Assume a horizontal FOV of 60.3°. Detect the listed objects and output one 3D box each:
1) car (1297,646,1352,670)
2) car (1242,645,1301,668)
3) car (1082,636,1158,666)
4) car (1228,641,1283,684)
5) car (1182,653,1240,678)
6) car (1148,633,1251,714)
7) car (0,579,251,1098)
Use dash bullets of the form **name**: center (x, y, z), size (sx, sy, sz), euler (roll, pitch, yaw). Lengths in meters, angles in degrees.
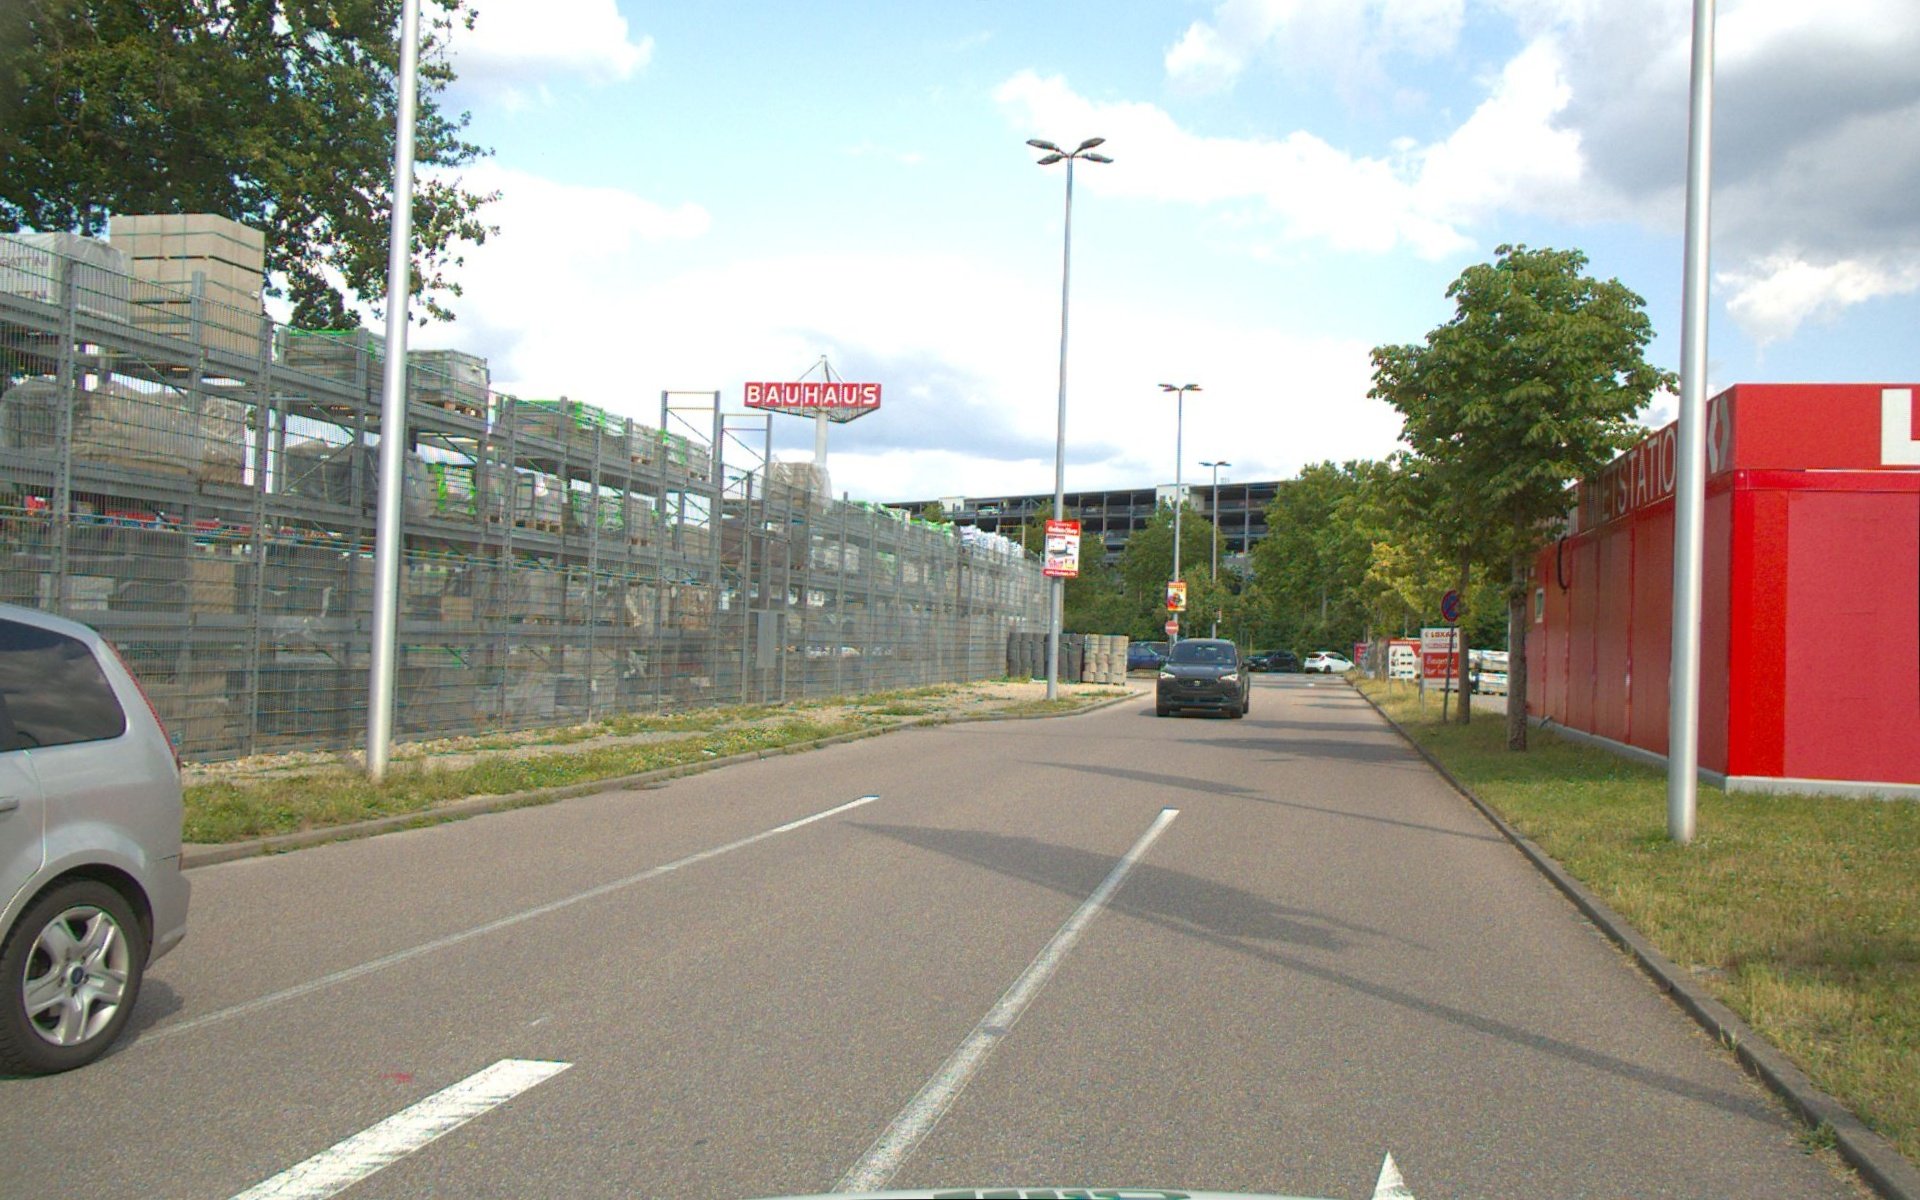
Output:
- **car**: center (23.478, 3.727, 106.376), size (3.522, 1.436, 1.647), euler (3, -2, -39)
- **car**: center (20.648, 3.721, 109.596), size (4.209, 1.435, 1.706), euler (3, -2, -44)
- **car**: center (8.159, 2.579, 84.384), size (3.670, 1.392, 1.622), euler (1, -1, 12)
- **car**: center (10.905, 2.280, 61.281), size (1.765, 1.490, 4.332), euler (2, -1, 8)
- **car**: center (17.216, 4.499, 113.184), size (4.044, 1.536, 1.665), euler (3, -7, -41)
- **car**: center (5.330, 1.557, 36.403), size (1.874, 1.646, 4.377), euler (1, -1, 13)
- **car**: center (-4.025, 0.681, 4.296), size (1.681, 1.592, 4.211), euler (1, -1, 16)
